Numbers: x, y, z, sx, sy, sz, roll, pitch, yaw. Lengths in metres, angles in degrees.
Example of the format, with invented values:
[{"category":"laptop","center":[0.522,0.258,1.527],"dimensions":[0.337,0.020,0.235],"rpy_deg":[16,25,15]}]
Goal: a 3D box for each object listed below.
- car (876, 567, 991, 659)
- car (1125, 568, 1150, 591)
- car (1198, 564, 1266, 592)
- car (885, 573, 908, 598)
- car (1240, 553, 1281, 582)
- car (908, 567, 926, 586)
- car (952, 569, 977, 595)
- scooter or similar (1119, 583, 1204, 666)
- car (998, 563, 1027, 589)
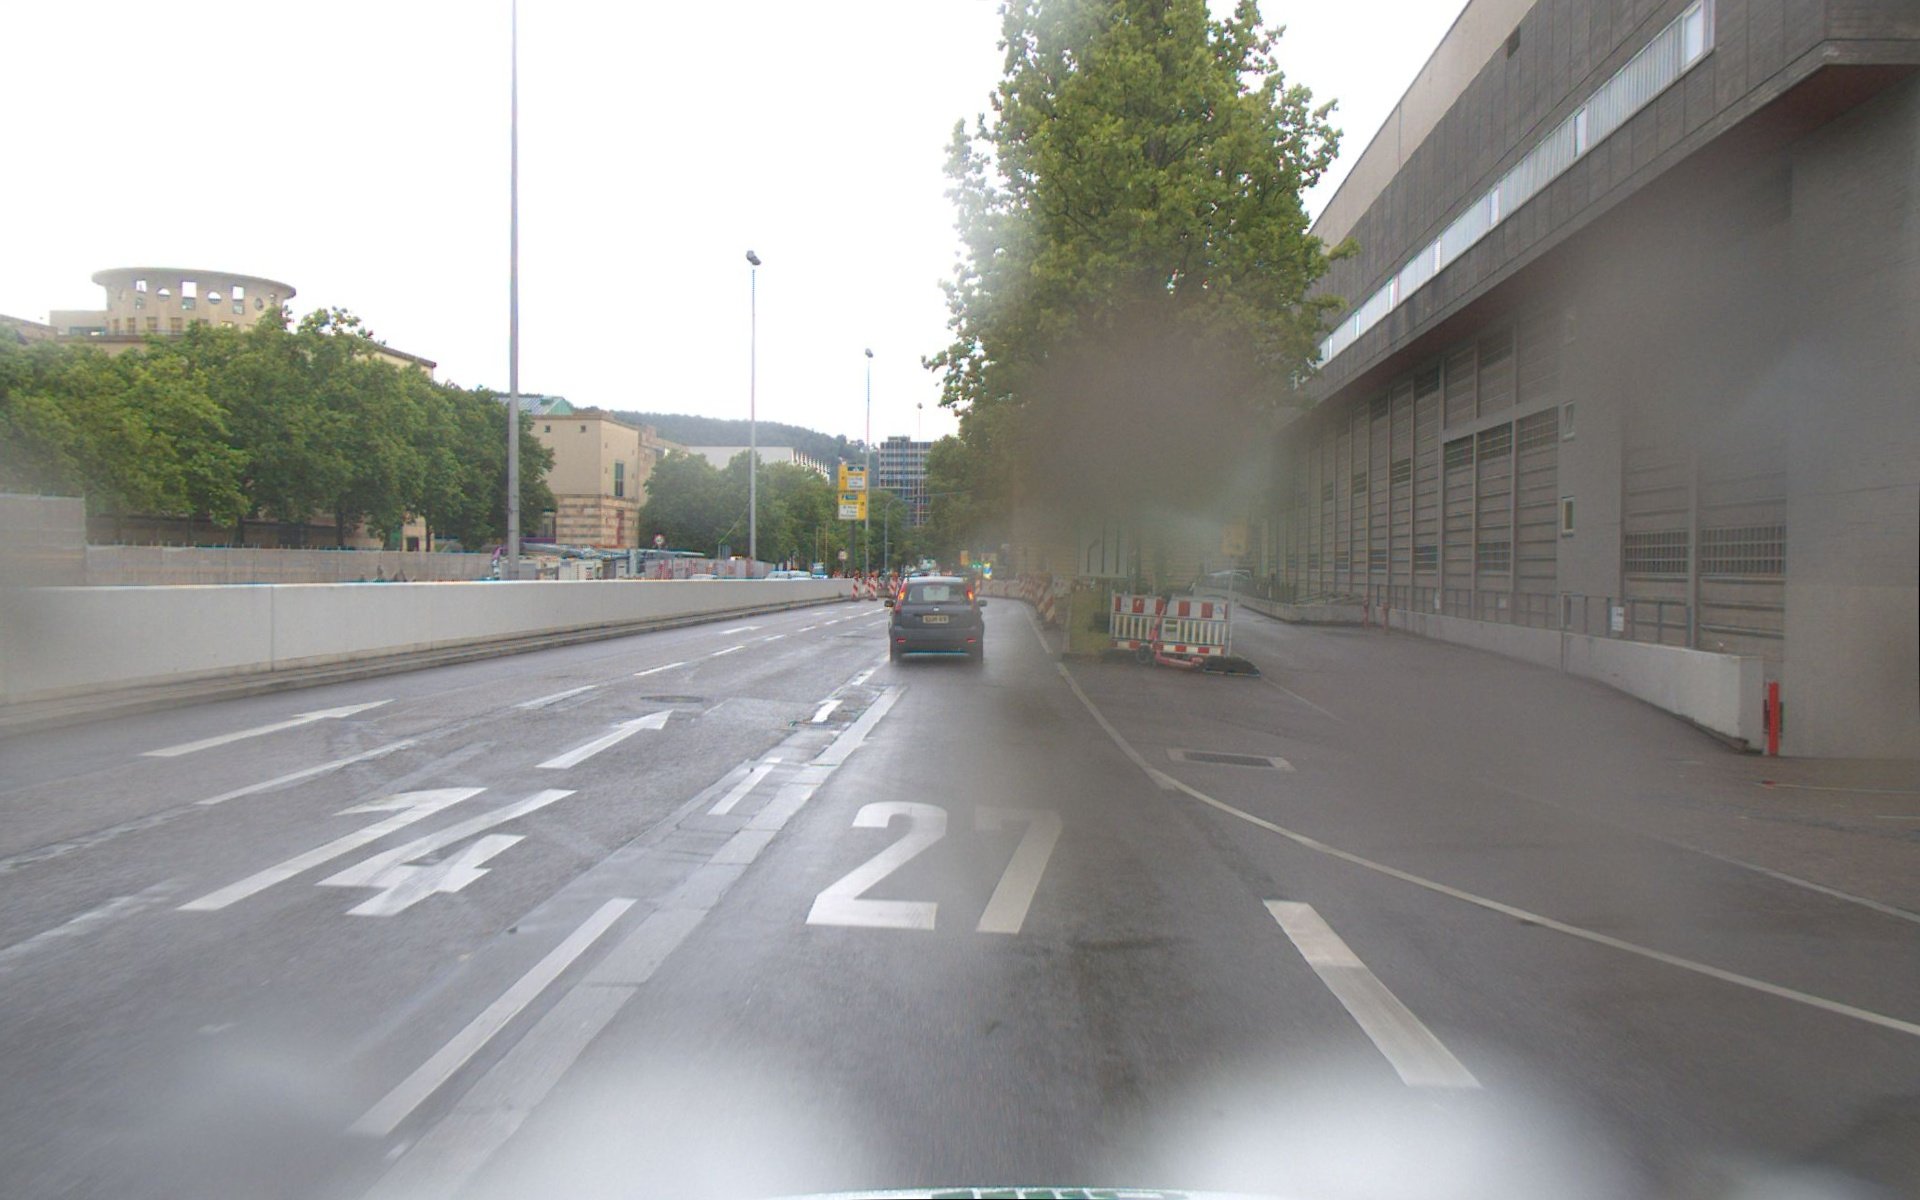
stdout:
[{"category":"car","center":[-0.527,0.182,29.257],"dimensions":[1.638,1.452,3.753],"rpy_deg":[1,2,-7]},{"category":"car","center":[14.765,-1.698,137.599],"dimensions":[1.951,1.738,4.003],"rpy_deg":[2,0,6]},{"category":"car","center":[16.762,-1.365,102.118],"dimensions":[3.904,1.587,1.934],"rpy_deg":[-1,-2,2]},{"category":"car","center":[-3.748,-0.867,97.857],"dimensions":[1.358,1.410,3.066],"rpy_deg":[0,0,-3]},{"category":"car","center":[19.911,-2.129,109.763],"dimensions":[1.952,1.790,5.098],"rpy_deg":[0,0,2]},{"category":"car","center":[-5.097,-2.802,196.202],"dimensions":[1.954,2.049,3.997],"rpy_deg":[3,-1,-3]},{"category":"car","center":[0.373,-1.580,141.299],"dimensions":[1.952,2.048,4.002],"rpy_deg":[2,2,1]},{"category":"scooter or similar","center":[3.351,0.408,27.560],"dimensions":[1.327,1.308,0.619],"rpy_deg":[3,-1,3]},{"category":"car","center":[3.753,-1.750,117.866],"dimensions":[1.952,1.738,4.002],"rpy_deg":[2,2,1]}]
